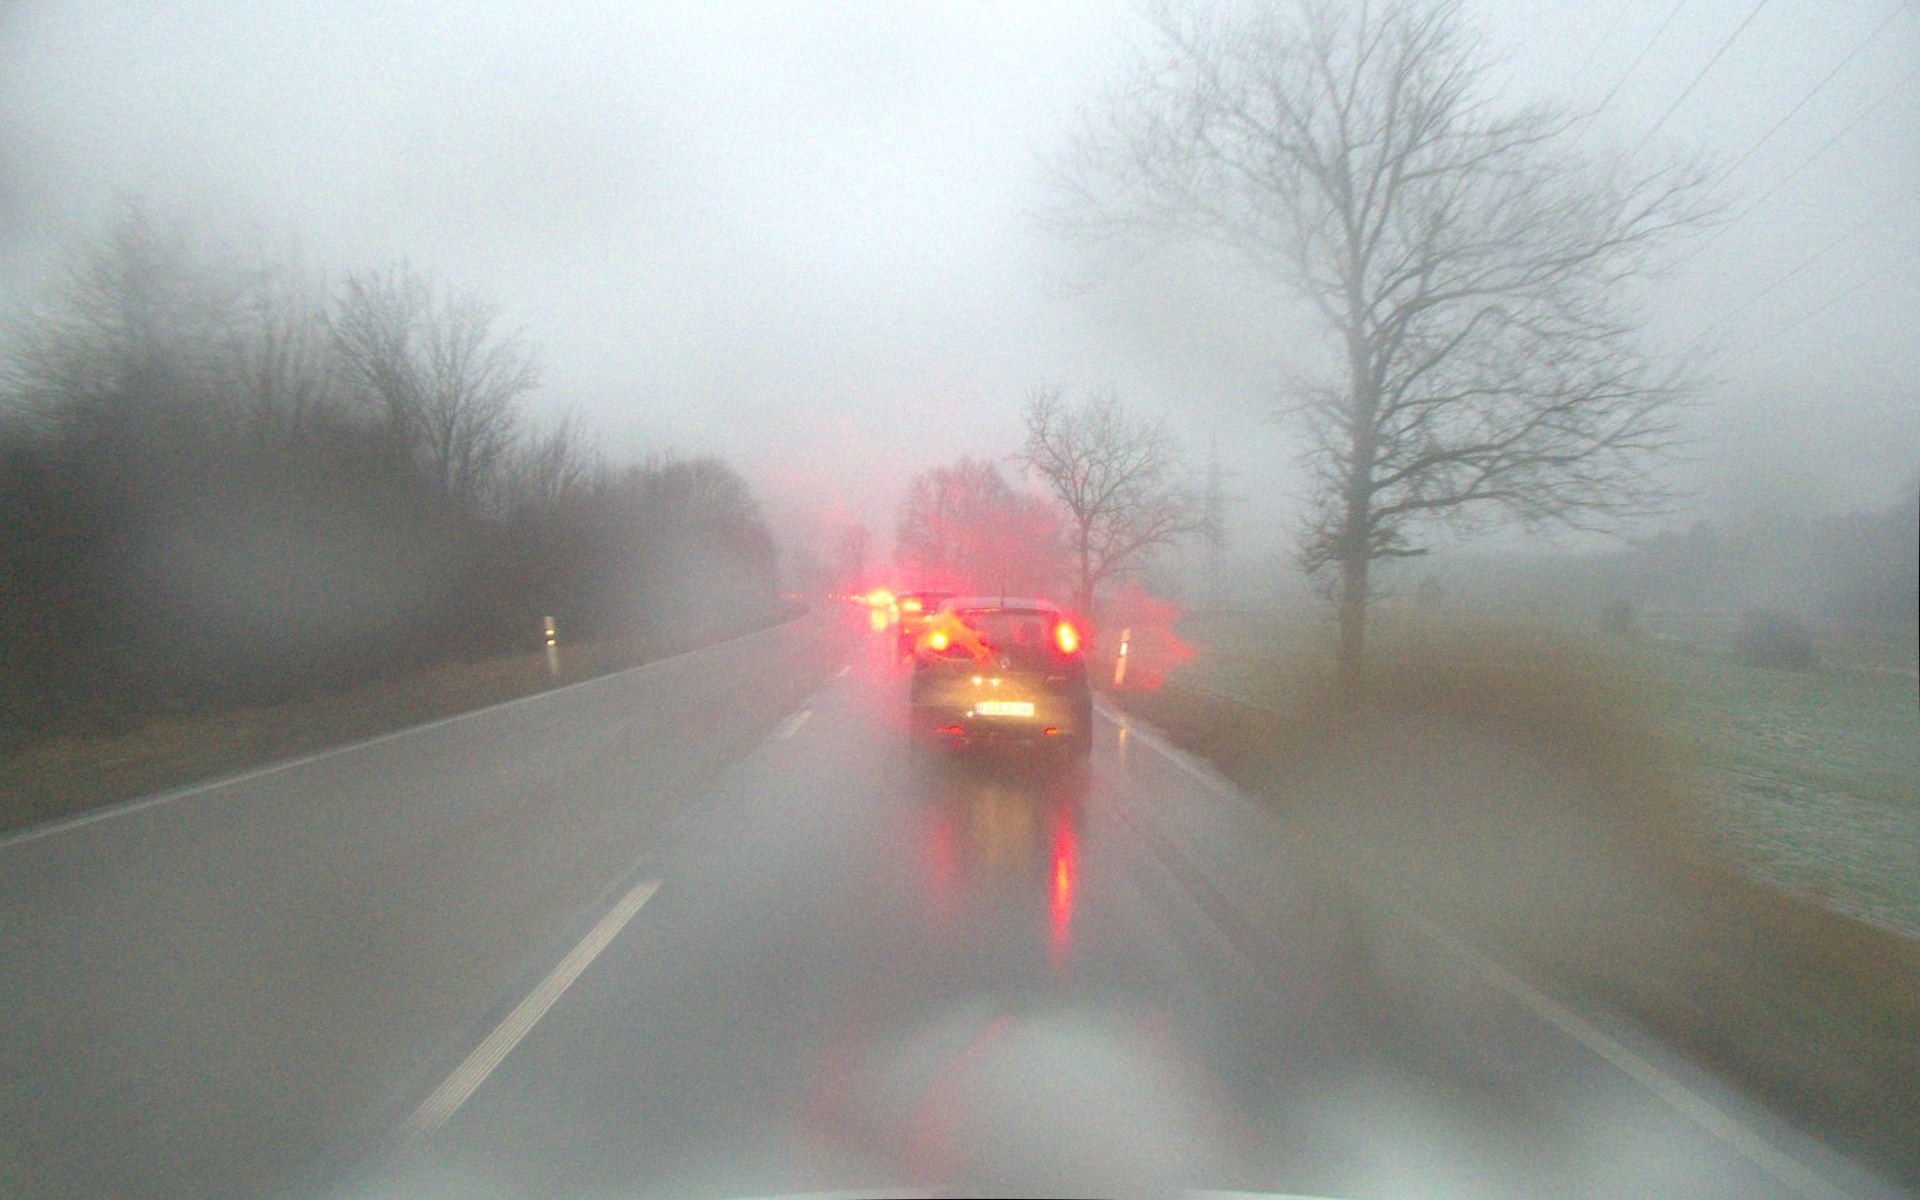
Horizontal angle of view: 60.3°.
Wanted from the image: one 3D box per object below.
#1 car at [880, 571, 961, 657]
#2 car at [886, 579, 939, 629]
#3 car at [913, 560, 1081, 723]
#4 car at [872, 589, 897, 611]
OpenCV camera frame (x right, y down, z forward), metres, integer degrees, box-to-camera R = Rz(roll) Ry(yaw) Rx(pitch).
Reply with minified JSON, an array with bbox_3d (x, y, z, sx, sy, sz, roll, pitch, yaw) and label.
[{"bbox_3d":[-0.955,0.329,42.070,1.814,2.049,4.001,1,0,2],"label":"car"},{"bbox_3d":[-1.710,0.111,61.092,1.825,1.729,4.467,1,1,0],"label":"car"},{"bbox_3d":[0.381,0.361,16.301,1.469,1.423,3.200,1,0,2],"label":"car"},{"bbox_3d":[-6.220,-0.006,137.000,1.825,1.729,4.467,1,1,0],"label":"car"}]
